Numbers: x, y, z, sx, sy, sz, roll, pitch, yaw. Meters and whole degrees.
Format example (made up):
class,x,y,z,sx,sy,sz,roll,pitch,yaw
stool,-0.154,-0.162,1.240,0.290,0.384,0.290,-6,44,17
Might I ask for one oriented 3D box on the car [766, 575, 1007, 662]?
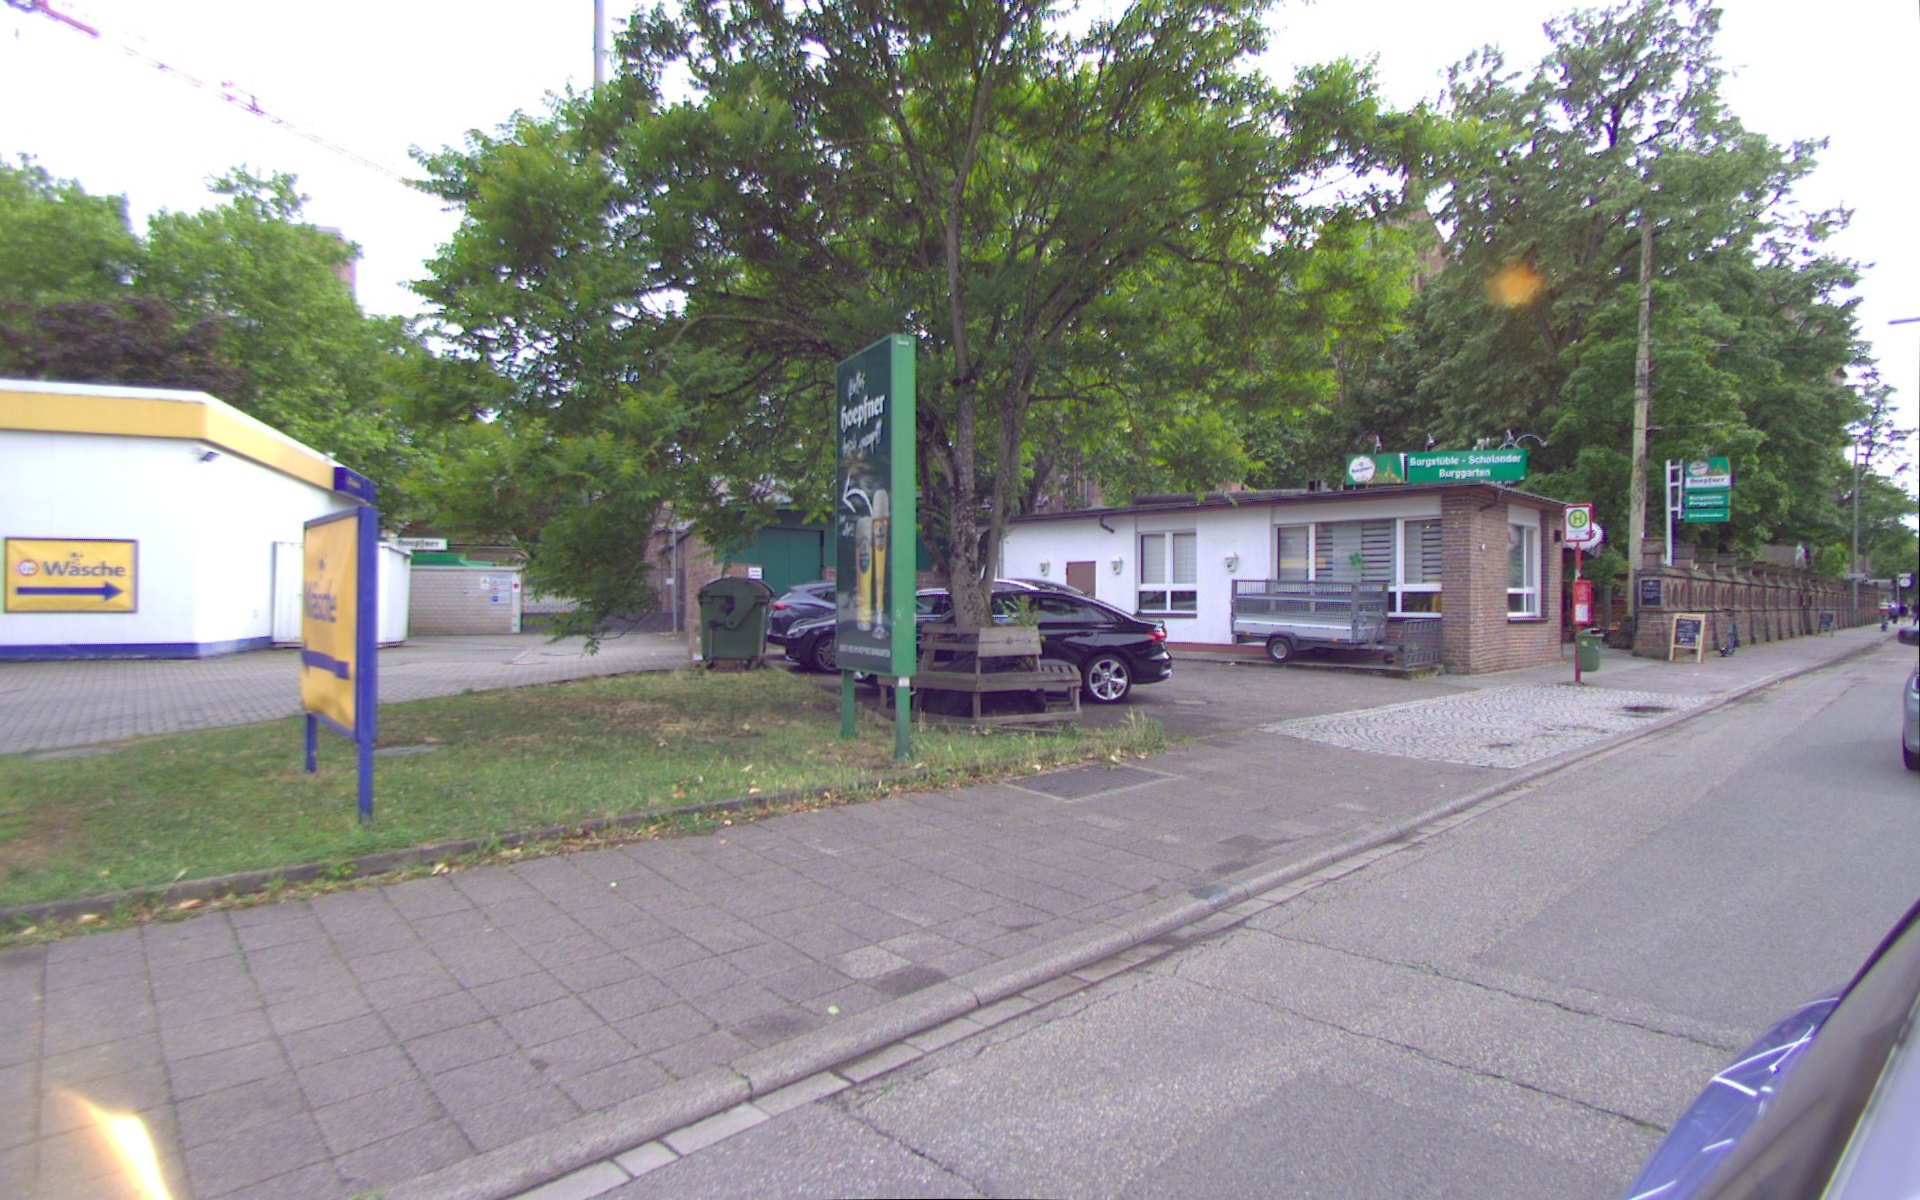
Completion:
class,x,y,z,sx,sy,sz,roll,pitch,yaw
car,-1.427,0.336,19.667,4.401,1.477,1.987,2,0,-5

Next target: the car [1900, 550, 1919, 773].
class,x,y,z,sx,sy,sz,roll,pitch,yaw
car,10.251,0.529,9.281,4.849,1.830,1.849,0,0,-41

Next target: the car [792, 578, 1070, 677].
class,x,y,z,sx,sy,sz,roll,pitch,yaw
car,-0.495,0.428,17.251,4.454,1.445,1.879,1,2,-1

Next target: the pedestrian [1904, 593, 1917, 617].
class,x,y,z,sx,sy,sz,roll,pitch,yaw
pedestrian,76.458,0.408,81.430,0.721,1.867,0.884,2,1,43

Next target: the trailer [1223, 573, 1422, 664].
class,x,y,z,sx,sy,sz,roll,pitch,yaw
trailer,6.778,0.301,19.093,1.593,1.558,3.165,-1,0,-42

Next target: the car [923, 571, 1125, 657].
class,x,y,z,sx,sy,sz,roll,pitch,yaw
car,1.286,0.270,22.126,1.954,1.667,4.434,0,0,-38

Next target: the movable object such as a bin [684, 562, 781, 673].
class,x,y,z,sx,sy,sz,roll,pitch,yaw
movable object such as a bin,-3.406,0.264,15.327,1.102,1.533,1.422,4,-1,-2

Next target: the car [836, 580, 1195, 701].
class,x,y,z,sx,sy,sz,roll,pitch,yaw
car,0.690,0.502,13.727,4.497,1.425,1.935,1,0,0

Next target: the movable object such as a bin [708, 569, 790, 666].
class,x,y,z,sx,sy,sz,roll,pitch,yaw
movable object such as a bin,-3.450,0.296,16.699,1.102,1.510,1.295,2,-2,-3

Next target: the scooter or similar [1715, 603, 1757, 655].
class,x,y,z,sx,sy,sz,roll,pitch,yaw
scooter or similar,19.964,0.719,26.031,1.386,1.254,0.577,0,3,-44
